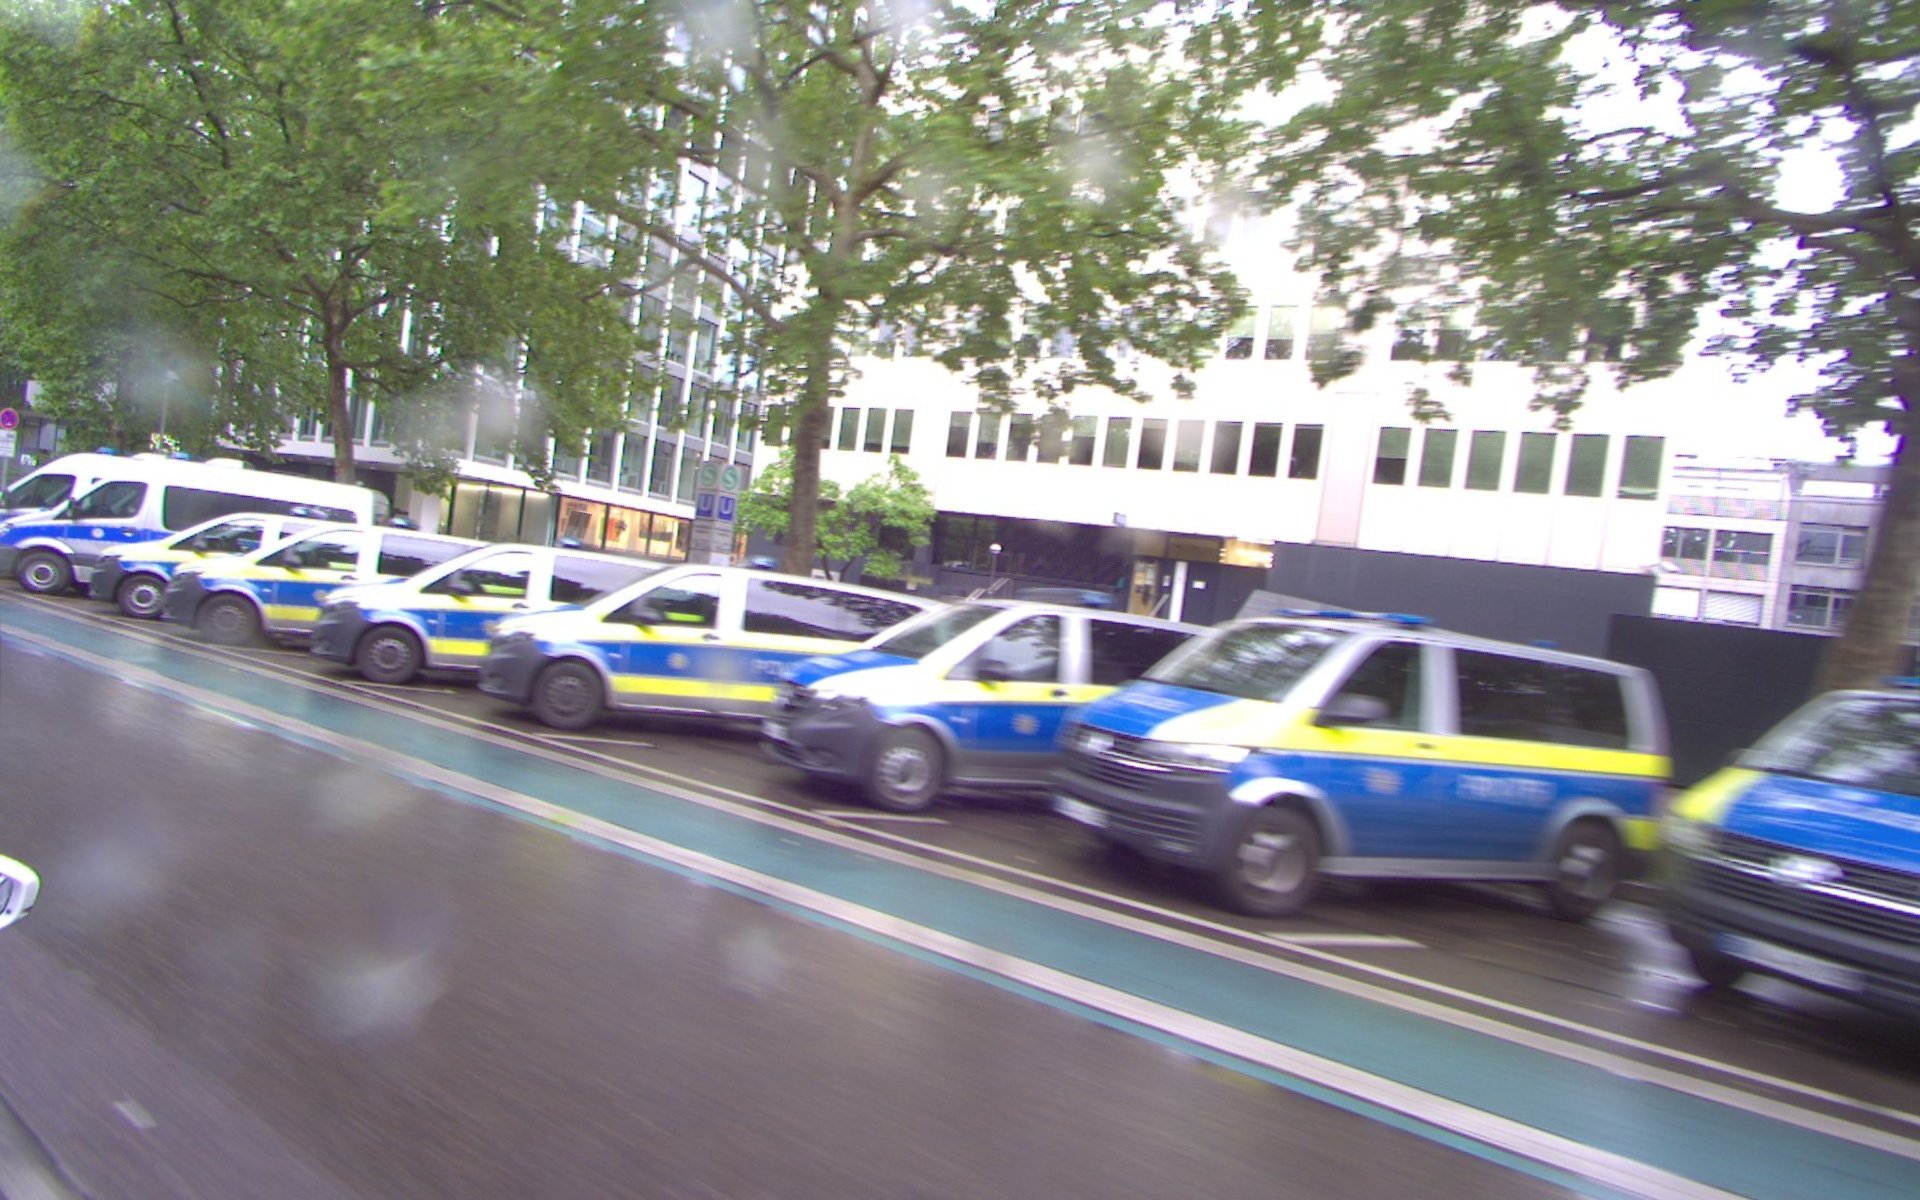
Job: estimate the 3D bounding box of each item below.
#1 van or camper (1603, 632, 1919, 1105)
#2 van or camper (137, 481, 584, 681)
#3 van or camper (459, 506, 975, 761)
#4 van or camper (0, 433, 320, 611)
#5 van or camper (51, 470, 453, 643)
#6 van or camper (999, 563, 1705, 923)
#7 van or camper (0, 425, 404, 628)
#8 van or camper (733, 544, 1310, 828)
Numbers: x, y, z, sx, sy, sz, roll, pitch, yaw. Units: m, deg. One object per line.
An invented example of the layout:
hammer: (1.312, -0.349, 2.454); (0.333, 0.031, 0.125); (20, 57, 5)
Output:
van or camper: (6.363, 1.531, 5.842); (4.790, 2.022, 1.858); (8, -1, -22)
van or camper: (-8.438, -0.179, 14.810); (5.145, 2.015, 1.989); (9, -2, -24)
van or camper: (-2.645, 0.432, 11.404); (5.038, 2.049, 2.096); (8, -1, -21)
van or camper: (-16.557, -1.527, 20.150); (5.737, 2.709, 2.137); (8, -1, -21)
van or camper: (-11.337, -0.610, 16.655); (4.951, 2.037, 1.990); (7, -2, -23)
van or camper: (2.944, 1.087, 7.561); (4.732, 2.034, 1.990); (8, -1, -23)
van or camper: (-13.740, -1.212, 18.467); (5.736, 2.713, 1.989); (8, 0, -23)
van or camper: (0.640, 0.858, 9.521); (4.964, 2.019, 1.987); (8, -1, -26)
